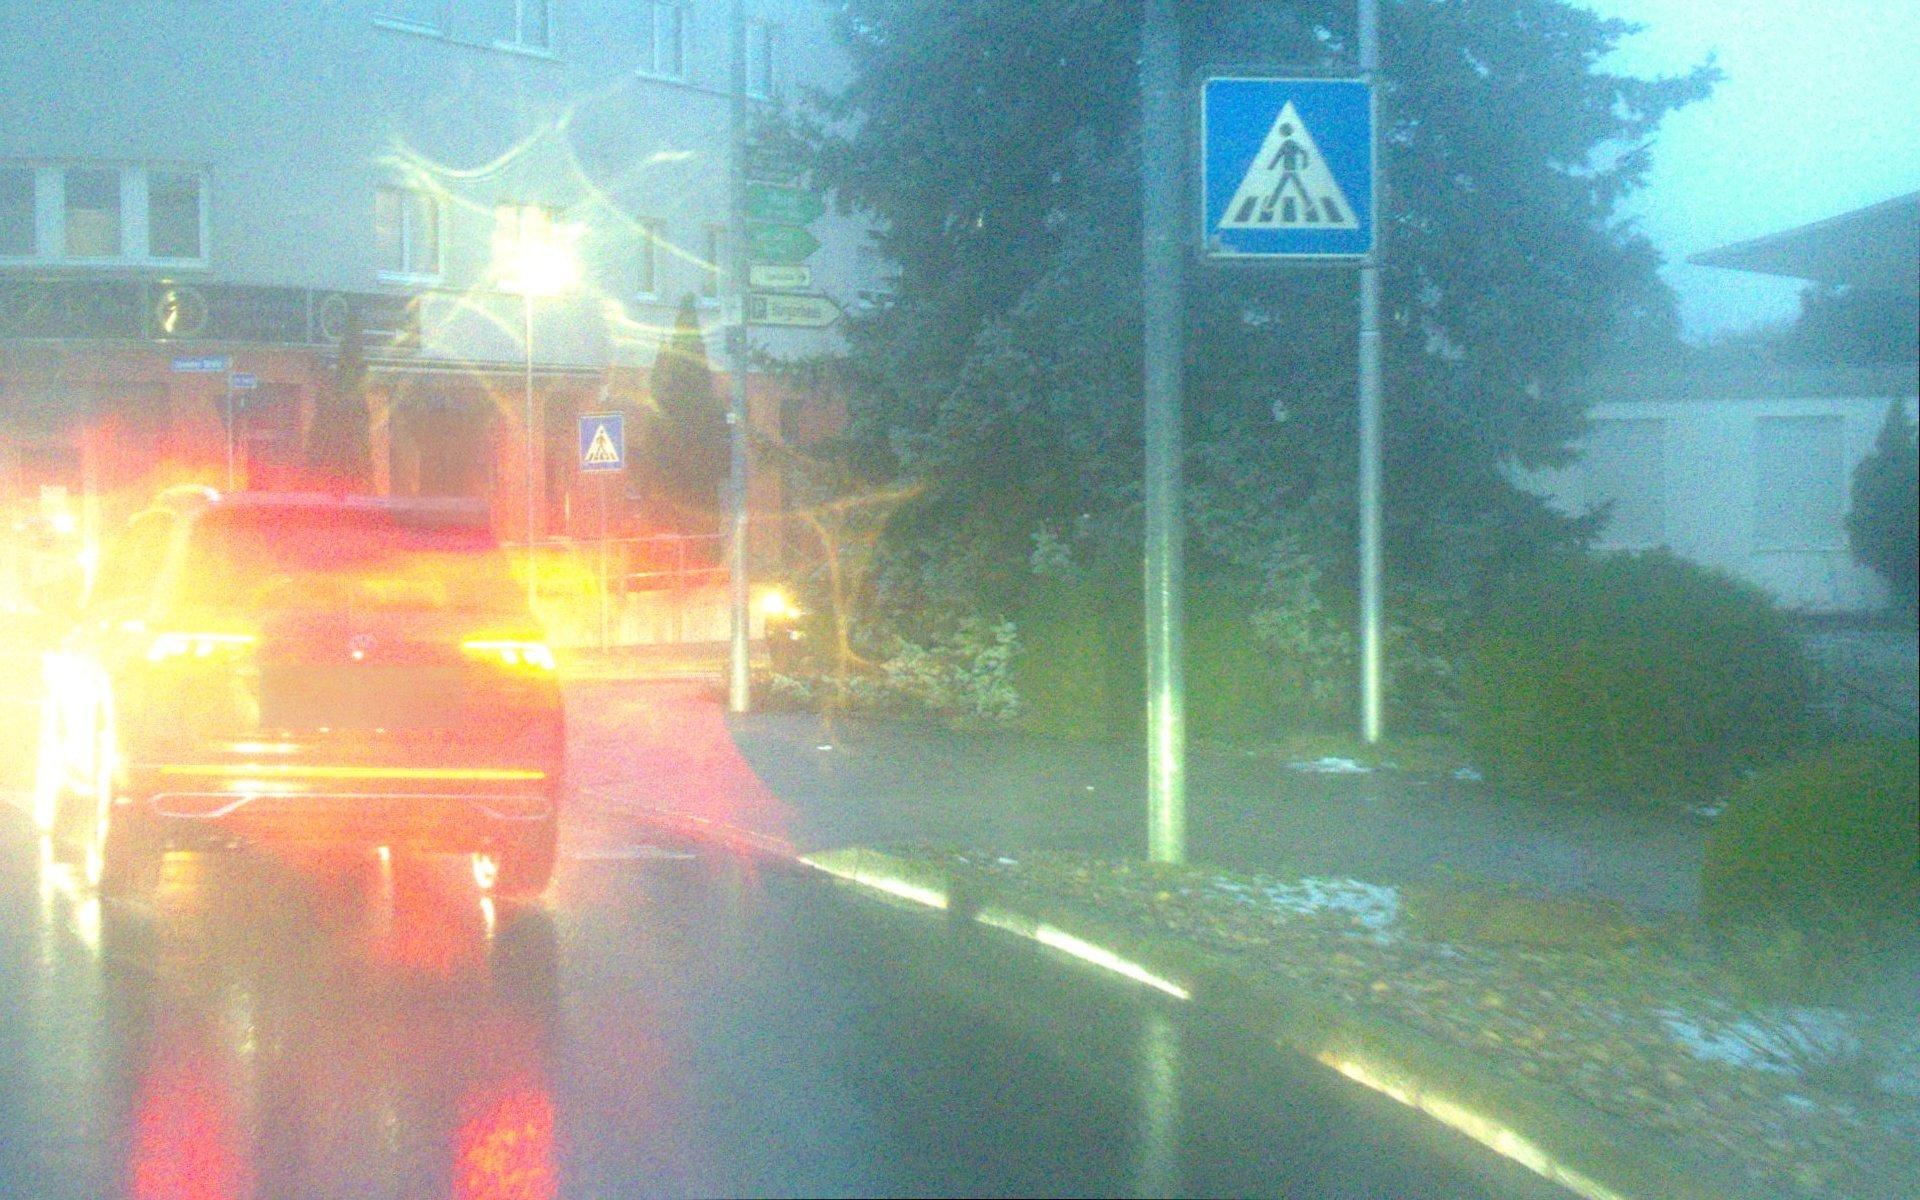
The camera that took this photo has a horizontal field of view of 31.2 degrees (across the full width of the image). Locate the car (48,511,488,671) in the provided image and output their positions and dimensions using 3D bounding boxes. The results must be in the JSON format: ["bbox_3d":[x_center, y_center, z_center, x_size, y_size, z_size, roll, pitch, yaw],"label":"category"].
[{"bbox_3d":[-7.375,-0.155,37.031,1.906,1.566,4.562,2,3,36],"label":"car"}]

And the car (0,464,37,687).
[{"bbox_3d":[-9.114,-0.265,27.697,2.163,1.683,4.572,-1,3,-30],"label":"car"}]

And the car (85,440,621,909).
[{"bbox_3d":[-2.627,0.191,14.726,1.944,1.712,4.002,-1,2,-11],"label":"car"}]
